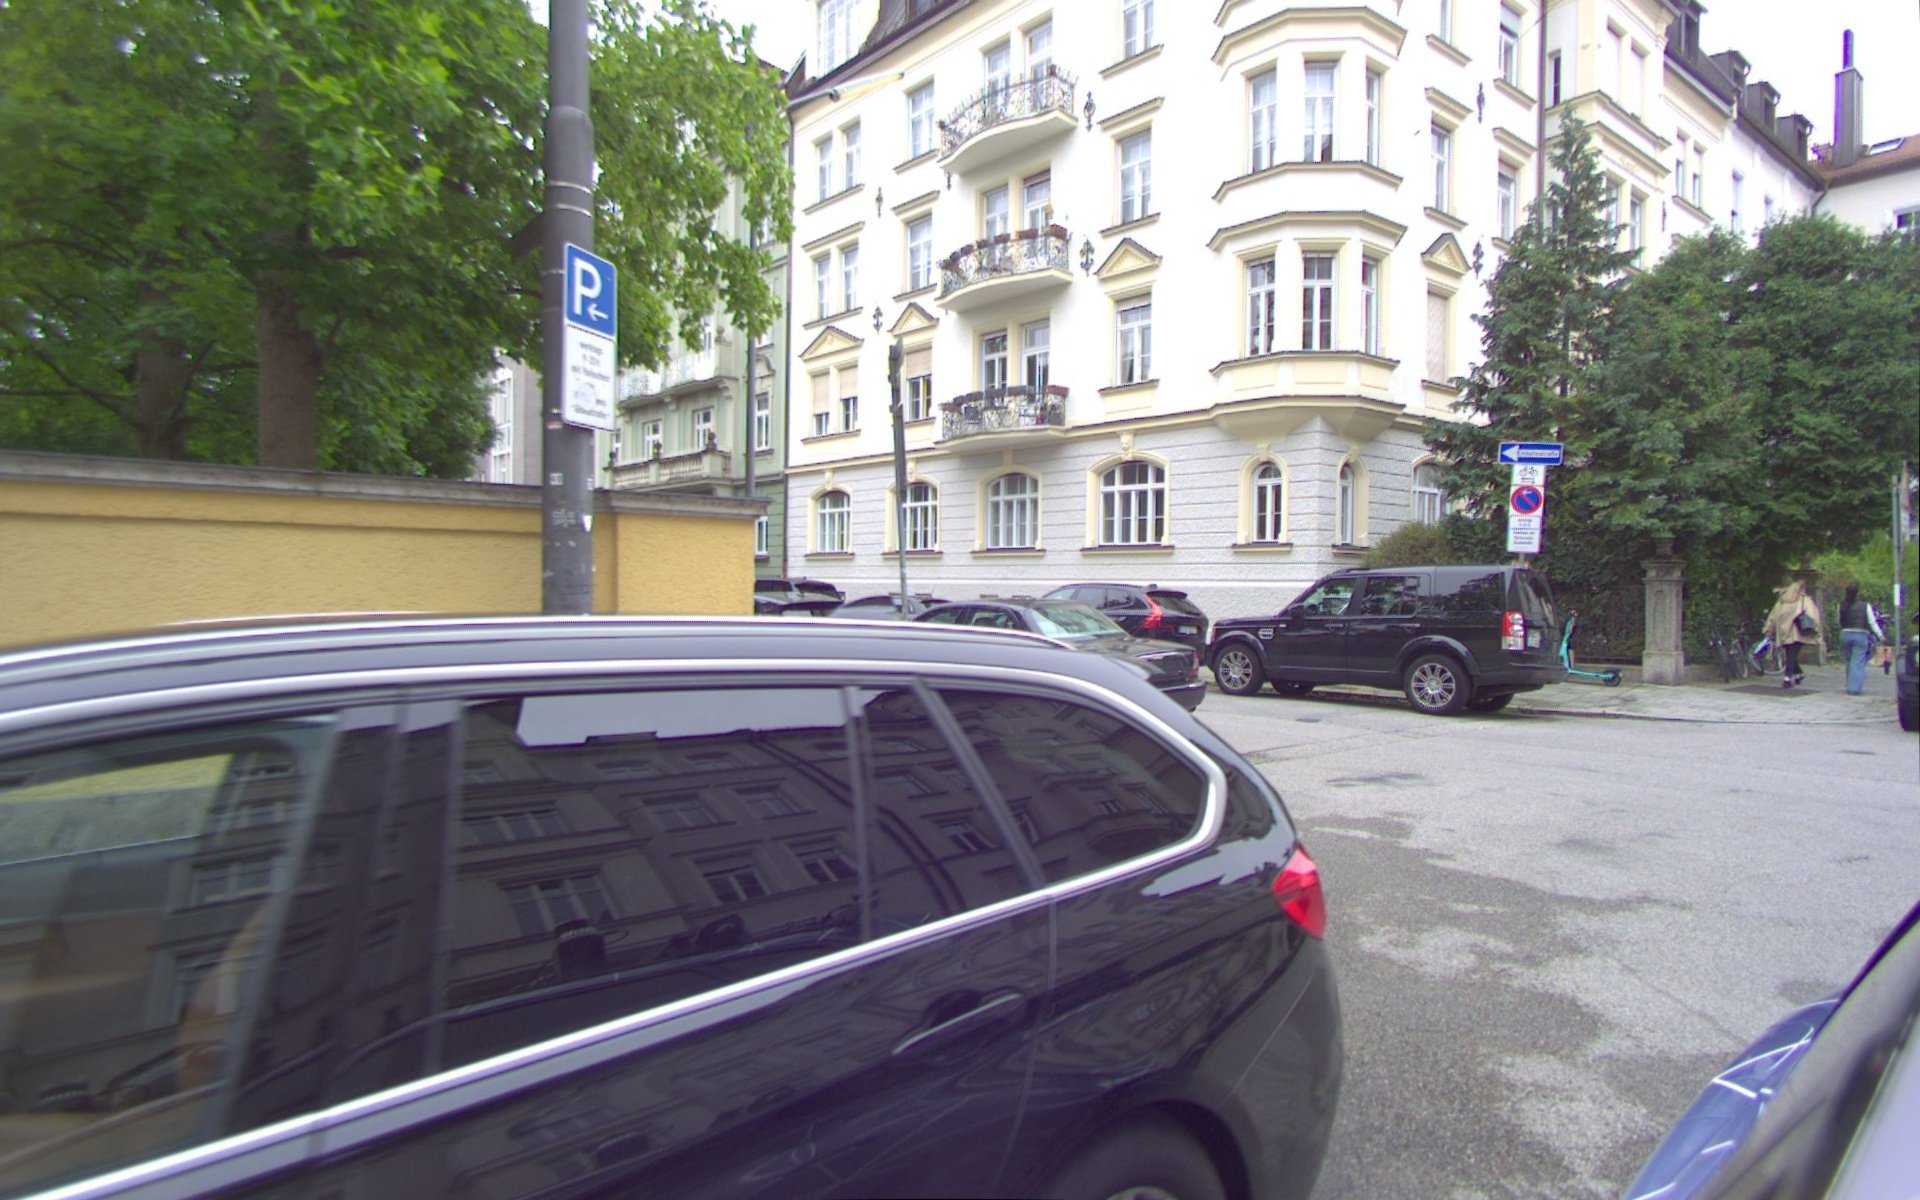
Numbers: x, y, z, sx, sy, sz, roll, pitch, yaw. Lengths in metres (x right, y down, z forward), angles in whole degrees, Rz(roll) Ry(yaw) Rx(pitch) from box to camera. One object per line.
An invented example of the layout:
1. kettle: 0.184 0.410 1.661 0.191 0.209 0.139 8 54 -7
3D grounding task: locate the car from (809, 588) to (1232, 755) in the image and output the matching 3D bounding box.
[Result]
1. car: 0.431 0.617 11.454 1.713 1.430 4.944 0 1 -43

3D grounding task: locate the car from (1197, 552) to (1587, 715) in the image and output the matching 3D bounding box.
1. car: 5.782 0.372 14.056 1.712 1.896 4.672 3 -1 -42

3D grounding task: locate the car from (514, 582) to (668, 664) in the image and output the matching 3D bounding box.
1. car: -7.274 0.391 19.809 1.588 1.430 3.449 0 1 -44

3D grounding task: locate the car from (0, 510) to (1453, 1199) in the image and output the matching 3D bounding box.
1. car: -1.350 0.650 1.376 4.865 1.471 1.717 0 1 -39

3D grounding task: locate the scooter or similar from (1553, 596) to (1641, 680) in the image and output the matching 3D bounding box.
1. scooter or similar: 10.179 0.591 16.194 0.439 1.279 1.090 0 1 -35

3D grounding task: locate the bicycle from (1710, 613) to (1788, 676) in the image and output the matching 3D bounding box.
1. bicycle: 13.277 0.736 17.012 1.744 0.997 0.449 0 0 -32

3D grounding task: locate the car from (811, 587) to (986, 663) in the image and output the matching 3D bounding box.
1. car: -1.398 0.505 21.887 1.712 1.469 3.885 3 -1 -42

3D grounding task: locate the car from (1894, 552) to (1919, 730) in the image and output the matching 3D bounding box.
1. car: 12.893 0.441 11.977 4.352 1.986 1.997 1 -3 -39

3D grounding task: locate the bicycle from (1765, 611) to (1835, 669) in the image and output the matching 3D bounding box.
1. bicycle: 15.267 0.712 18.383 1.744 0.997 0.449 0 0 -32

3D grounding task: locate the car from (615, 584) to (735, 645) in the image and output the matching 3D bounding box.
1. car: -8.314 0.394 29.363 1.712 1.607 4.022 3 -1 -42

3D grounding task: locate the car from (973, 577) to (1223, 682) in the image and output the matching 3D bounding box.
1. car: 2.294 0.453 17.736 1.712 1.607 4.219 3 -1 -42

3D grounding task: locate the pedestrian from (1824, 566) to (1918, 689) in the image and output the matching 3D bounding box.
1. pedestrian: 13.768 0.385 15.291 1.032 1.778 0.876 0 0 -37

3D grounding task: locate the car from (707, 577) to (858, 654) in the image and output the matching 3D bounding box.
1. car: -4.510 0.353 25.336 1.712 1.748 4.219 3 -1 -42

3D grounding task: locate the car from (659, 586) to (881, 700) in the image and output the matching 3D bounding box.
1. car: -2.877 0.543 14.899 1.588 1.430 3.449 0 1 -44

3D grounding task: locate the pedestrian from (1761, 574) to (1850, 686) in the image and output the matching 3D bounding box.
1. pedestrian: 13.546 0.450 16.214 1.032 1.711 0.876 0 0 -37

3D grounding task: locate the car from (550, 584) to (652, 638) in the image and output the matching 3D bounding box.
1. car: -11.852 0.338 33.272 1.712 1.607 4.022 3 -1 -42
